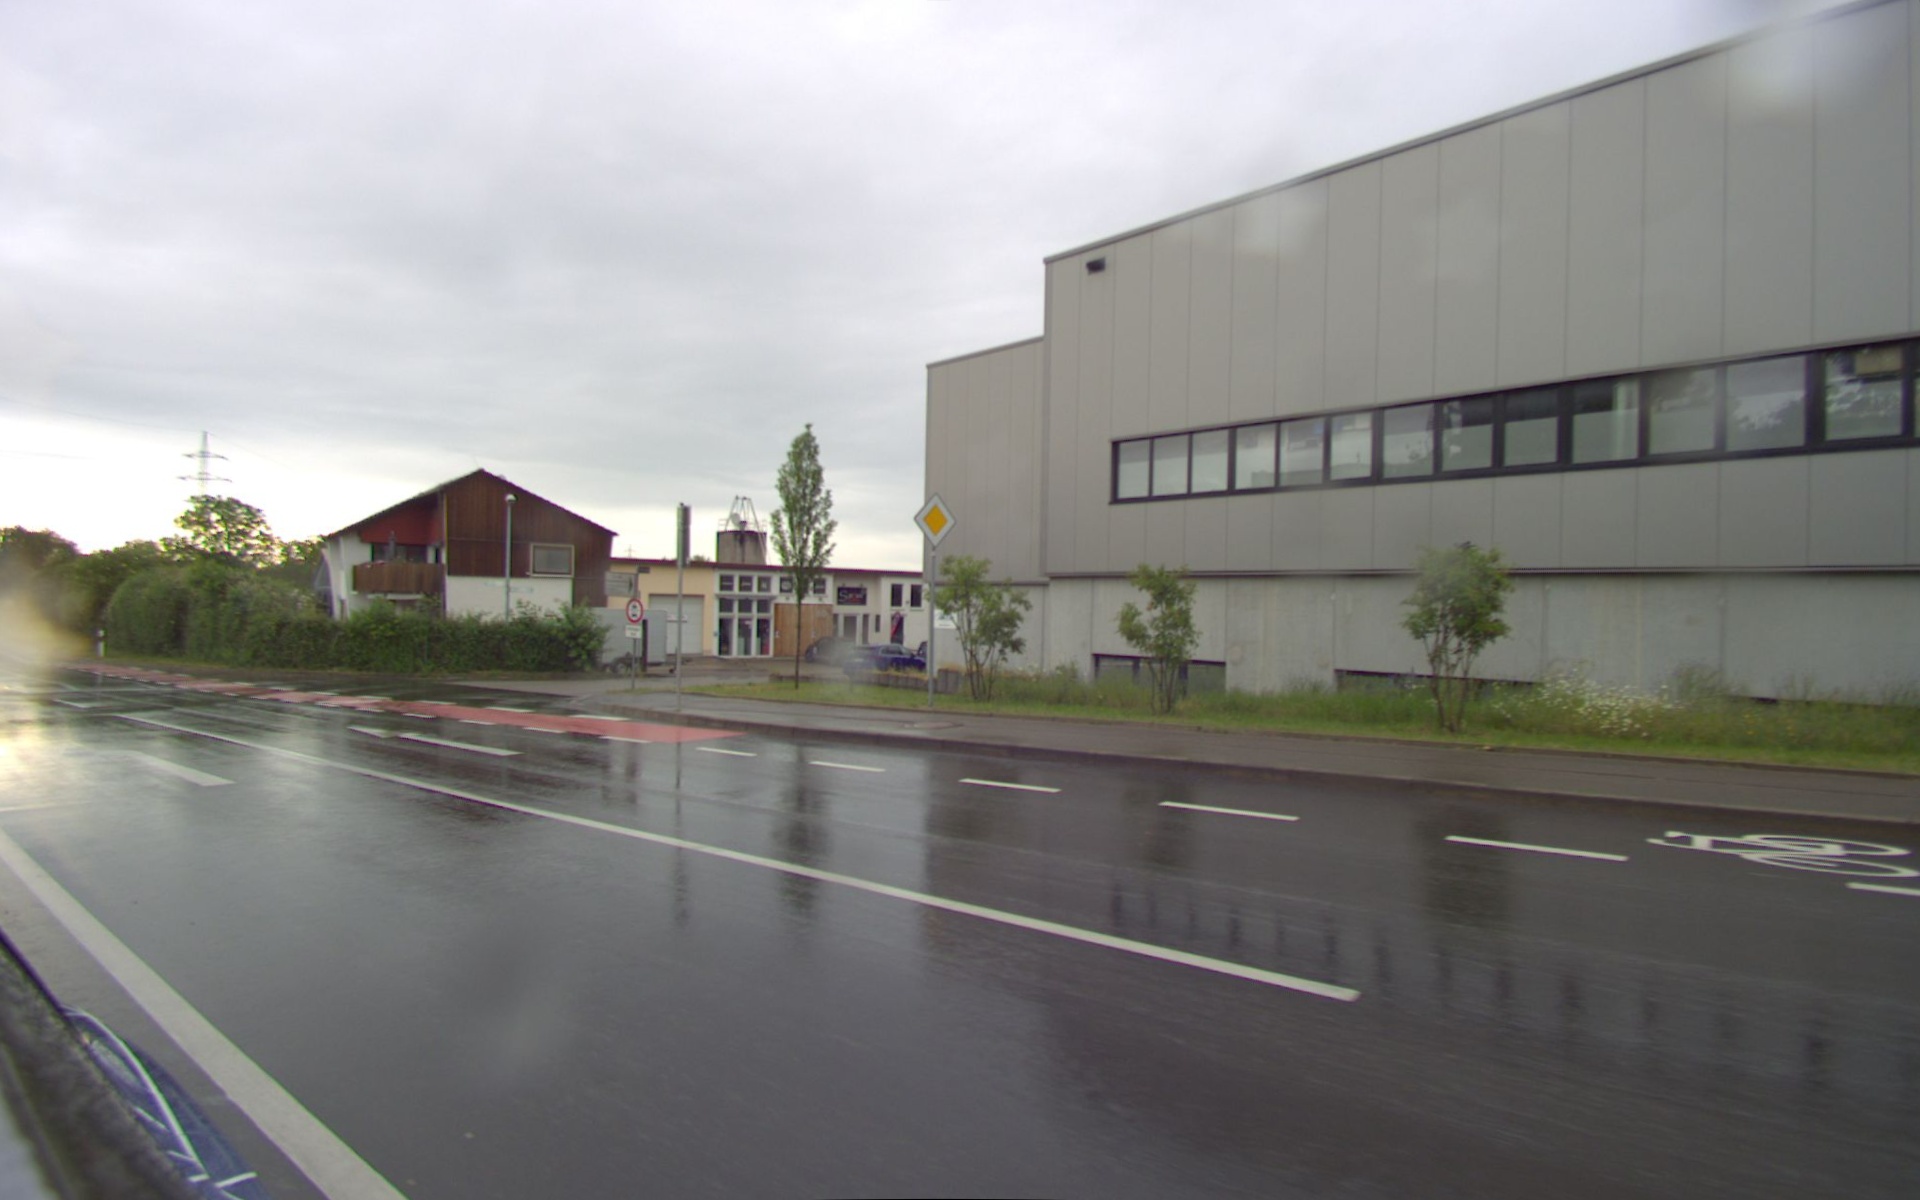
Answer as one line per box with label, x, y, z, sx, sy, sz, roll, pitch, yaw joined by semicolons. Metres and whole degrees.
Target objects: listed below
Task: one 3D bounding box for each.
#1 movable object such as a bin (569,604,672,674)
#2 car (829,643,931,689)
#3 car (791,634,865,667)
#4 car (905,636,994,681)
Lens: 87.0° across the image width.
movable object such as a bin;-13.316;1.546;39.781;3.289;2.576;1.740;5;-5;-44
car;-3.031;2.579;39.181;1.947;1.622;4.407;0;-4;26
car;-6.885;2.608;52.586;1.968;1.567;4.007;5;-4;-39
car;-0.404;2.635;44.975;2.071;1.849;4.429;0;-4;27
